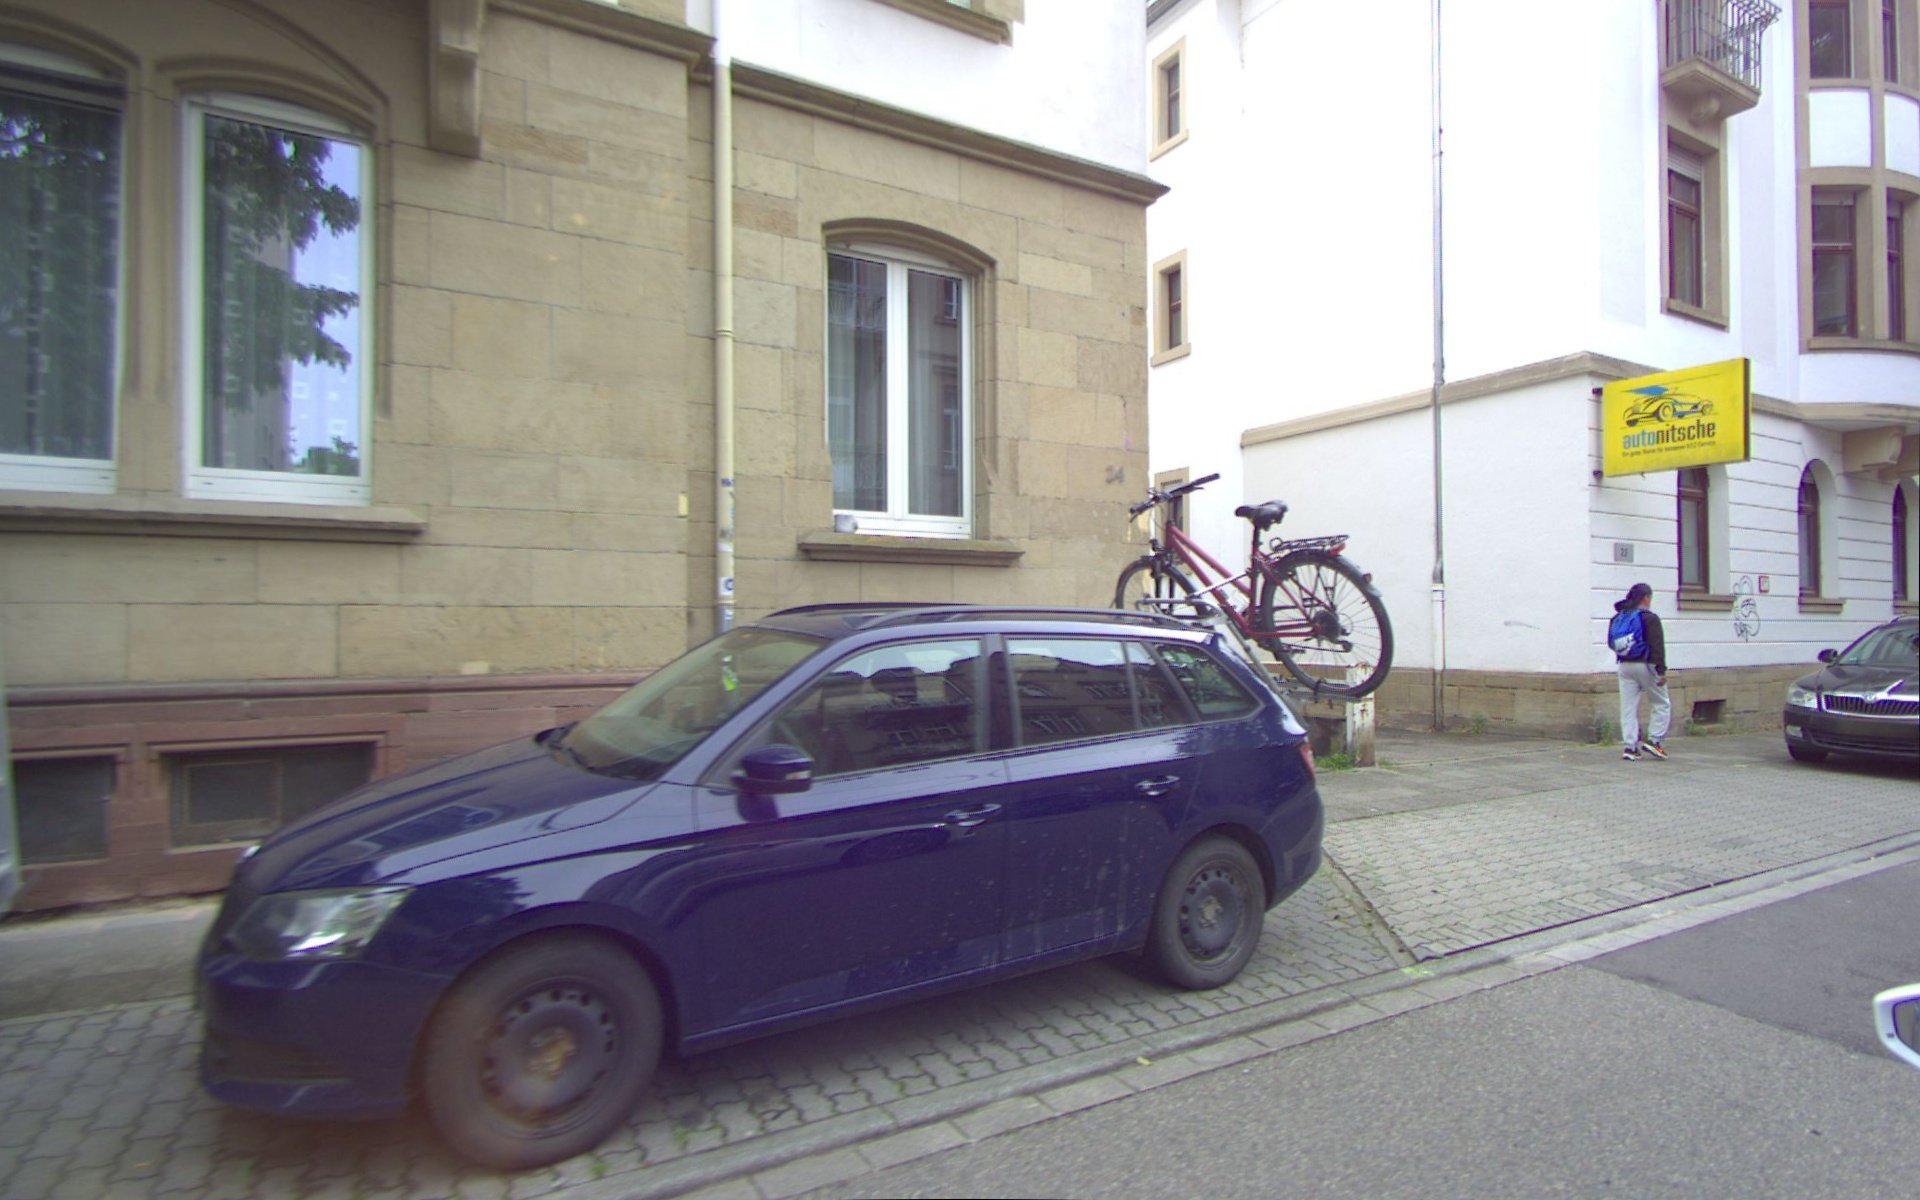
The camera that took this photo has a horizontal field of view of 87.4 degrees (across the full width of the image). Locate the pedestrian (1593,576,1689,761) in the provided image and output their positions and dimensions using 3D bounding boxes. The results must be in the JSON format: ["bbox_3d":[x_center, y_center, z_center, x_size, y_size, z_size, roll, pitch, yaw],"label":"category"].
[{"bbox_3d":[6.752,0.652,9.959,0.648,1.763,0.542,0,1,-31],"label":"pedestrian"}]

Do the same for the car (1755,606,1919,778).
[{"bbox_3d":[9.902,0.821,10.029,3.975,1.500,1.781,1,0,-30],"label":"car"}]

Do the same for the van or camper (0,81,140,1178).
[{"bbox_3d":[-4.844,0.047,1.544,5.252,2.687,1.999,0,2,-30],"label":"van or camper"}]

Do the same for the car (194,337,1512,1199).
[{"bbox_3d":[-0.066,0.441,4.281,4.832,2.041,1.984,0,2,-30],"label":"car"}]
